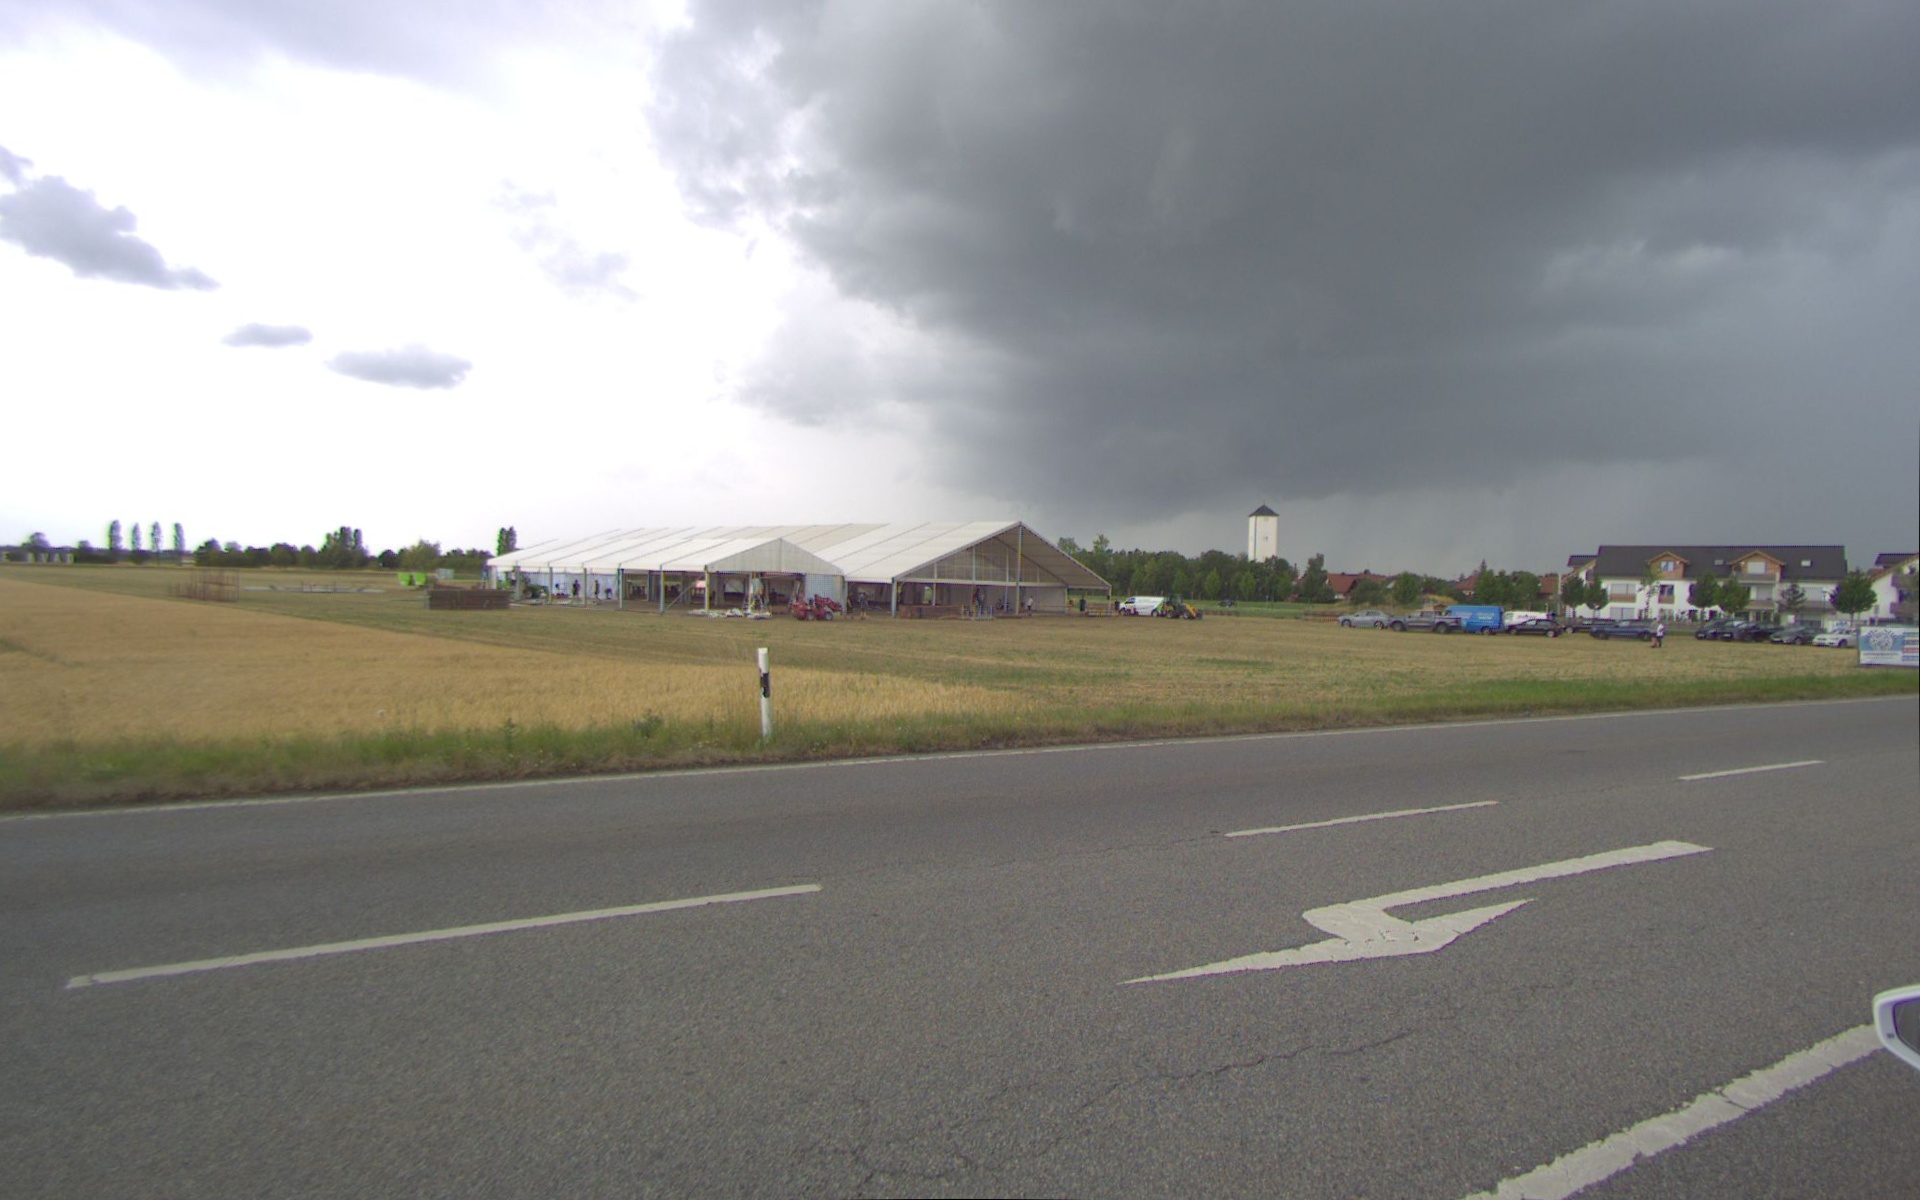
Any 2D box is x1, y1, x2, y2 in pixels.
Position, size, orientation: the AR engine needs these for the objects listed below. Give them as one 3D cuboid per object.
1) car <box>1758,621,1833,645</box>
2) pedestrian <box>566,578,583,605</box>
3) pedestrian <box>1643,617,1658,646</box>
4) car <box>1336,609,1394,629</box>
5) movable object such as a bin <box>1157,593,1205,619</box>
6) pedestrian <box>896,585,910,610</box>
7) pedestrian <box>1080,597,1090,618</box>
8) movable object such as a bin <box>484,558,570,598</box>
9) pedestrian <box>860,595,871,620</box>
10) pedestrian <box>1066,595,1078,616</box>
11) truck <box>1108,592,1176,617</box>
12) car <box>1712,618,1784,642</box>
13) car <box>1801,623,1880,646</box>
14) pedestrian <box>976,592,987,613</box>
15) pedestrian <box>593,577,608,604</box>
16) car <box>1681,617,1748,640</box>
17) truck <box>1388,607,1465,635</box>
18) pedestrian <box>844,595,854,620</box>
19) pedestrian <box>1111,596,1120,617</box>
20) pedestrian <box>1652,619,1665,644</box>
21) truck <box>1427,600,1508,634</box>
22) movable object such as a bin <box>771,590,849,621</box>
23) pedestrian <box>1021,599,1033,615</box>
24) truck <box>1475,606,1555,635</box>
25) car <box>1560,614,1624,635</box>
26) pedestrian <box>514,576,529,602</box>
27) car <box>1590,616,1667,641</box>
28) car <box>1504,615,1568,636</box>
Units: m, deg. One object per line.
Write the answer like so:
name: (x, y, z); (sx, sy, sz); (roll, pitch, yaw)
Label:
car: (60.538, 2.394, 72.807); (4.137, 1.556, 1.996); (1, 0, -11)
pedestrian: (-30.172, -0.676, 78.671); (1.006, 2.040, 0.806); (2, 0, -7)
pedestrian: (43.646, 1.964, 63.489); (0.673, 1.809, 0.543); (1, 1, -41)
car: (34.426, 1.619, 85.467); (4.237, 1.481, 1.885); (2, 0, 35)
movable object such as a bin: (20.364, 0.571, 92.648); (3.930, 2.273, 1.880); (2, 0, 34)
pedestrian: (-4.908, -0.215, 86.518); (0.868, 2.040, 0.761); (1, 1, -33)
pedestrian: (10.910, 0.646, 87.734); (0.677, 1.799, 0.694); (2, 0, -5)
movable object such as a bin: (-38.658, -1.964, 89.551); (7.469, 3.219, 4.138); (3, 1, 41)
pedestrian: (-6.326, 0.533, 67.188); (0.545, 1.649, 0.542); (1, 0, -31)
pedestrian: (10.026, 0.480, 89.880); (0.685, 1.799, 0.686); (1, 1, -26)
truck: (17.912, 0.417, 98.769); (5.962, 2.246, 2.713); (2, 0, 34)
car: (59.440, 2.274, 75.804); (4.137, 1.651, 1.996); (1, 0, -11)
car: (61.488, 2.407, 70.179); (4.137, 1.465, 1.996); (1, 0, -11)
pedestrian: (1.869, 0.210, 87.539); (0.689, 1.799, 0.682); (1, 1, -40)
pedestrian: (-28.950, -0.734, 80.879); (0.930, 2.130, 0.861); (1, 0, -30)
car: (59.908, 2.252, 79.790); (4.137, 1.651, 1.996); (1, 0, -11)
truck: (36.603, 1.633, 78.794); (5.156, 1.946, 2.105); (2, 0, 35)
pedestrian: (-7.507, 0.481, 67.832); (0.573, 1.649, 0.470); (2, 0, -10)
pedestrian: (14.324, 0.590, 92.323); (0.694, 1.890, 0.626); (2, 0, 14)
pedestrian: (44.392, 2.005, 63.861); (0.583, 1.576, 0.622); (2, 1, 42)
truck: (40.515, 1.313, 80.223); (5.380, 2.478, 2.384); (2, 0, 39)
movable object such as a bin: (-9.662, 0.378, 65.102); (2.556, 1.889, 4.456); (2, 0, 38)
pedestrian: (5.777, 0.615, 86.676); (0.689, 1.288, 0.682); (1, 1, -40)
truck: (46.675, 1.691, 84.514); (5.496, 2.226, 2.596); (2, 0, 39)
car: (56.234, 2.175, 89.401); (4.572, 1.720, 1.990); (2, 0, 41)
pedestrian: (-36.007, -0.905, 82.446); (1.011, 2.040, 0.802); (2, 1, 43)
car: (50.617, 2.131, 76.093); (4.661, 1.720, 1.990); (2, 0, 41)
car: (45.898, 2.026, 80.035); (4.107, 1.539, 1.990); (2, 0, 41)
